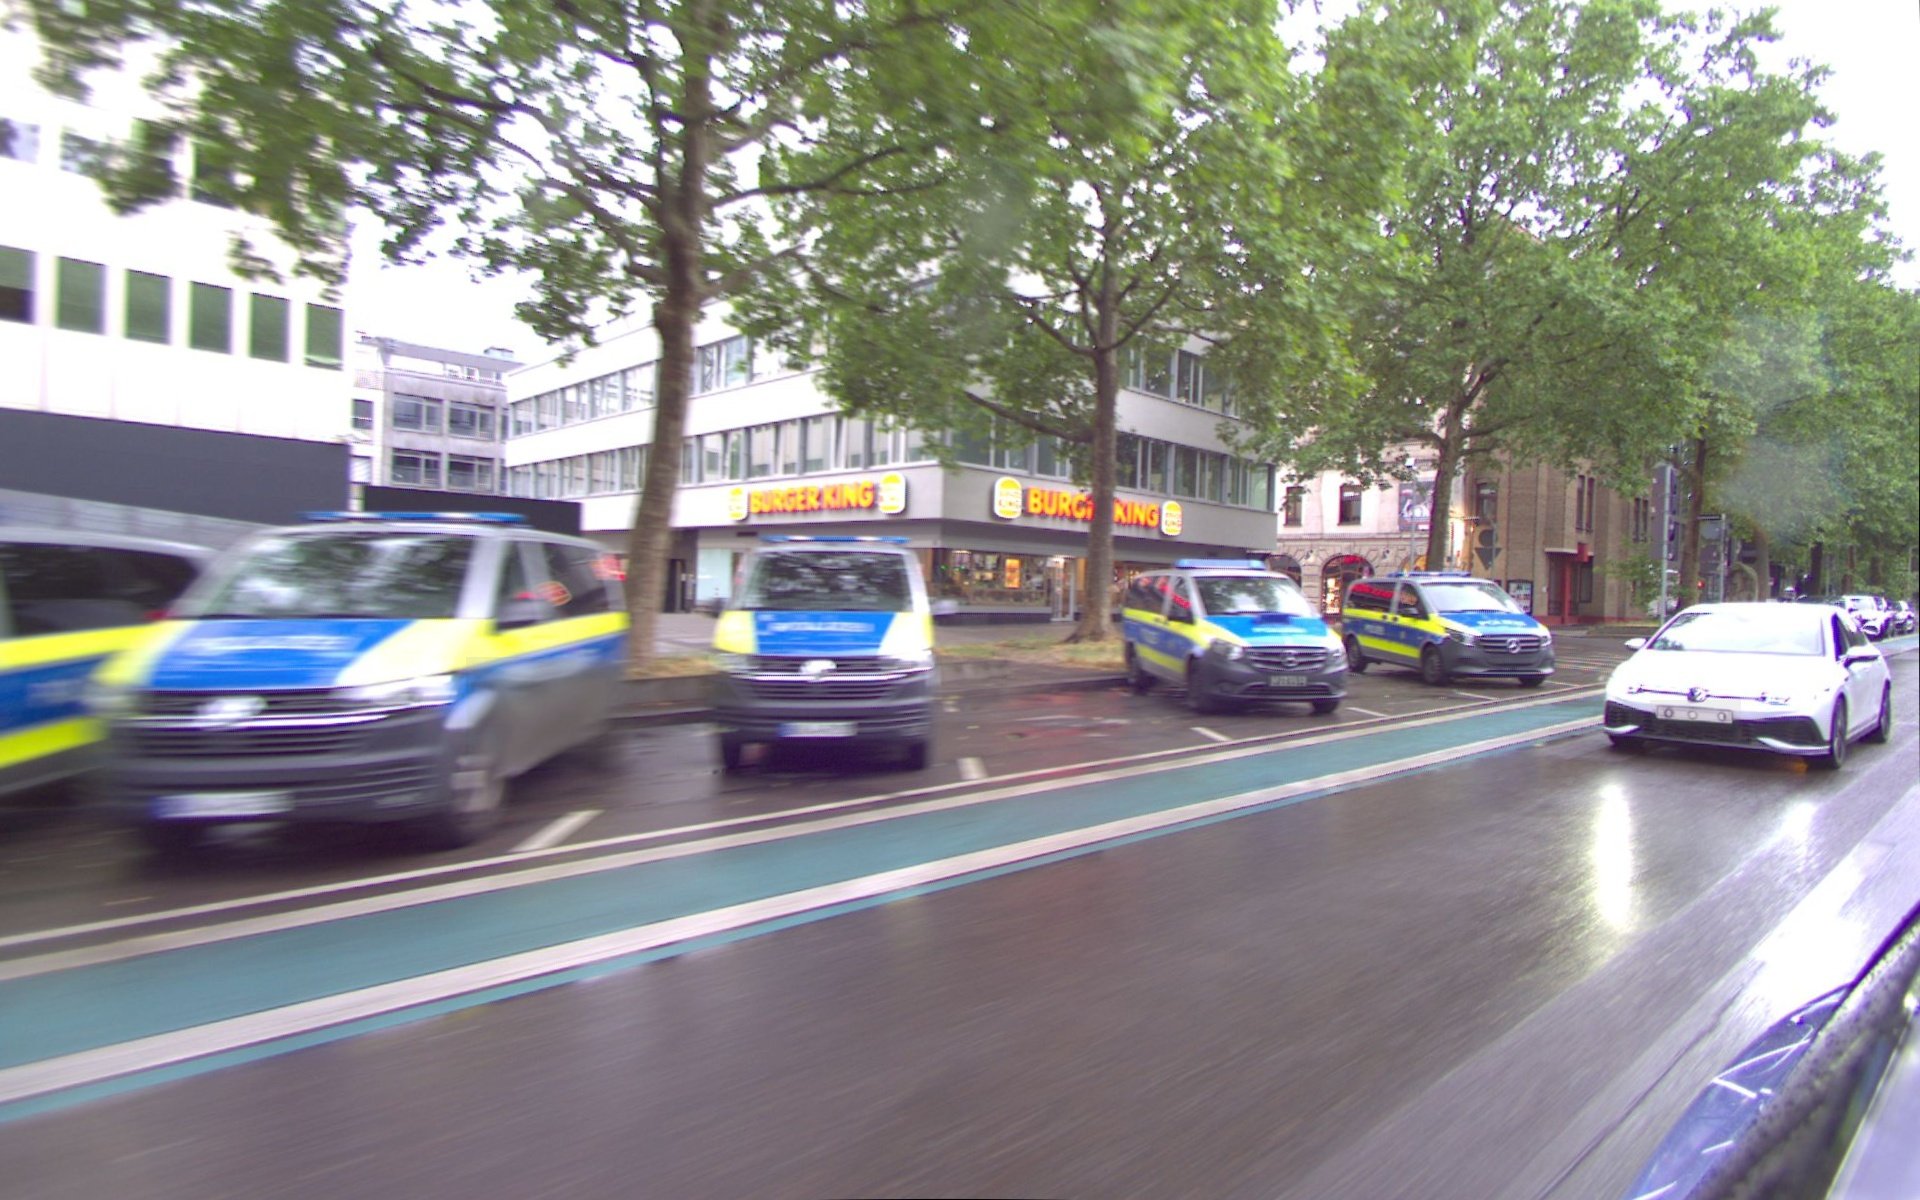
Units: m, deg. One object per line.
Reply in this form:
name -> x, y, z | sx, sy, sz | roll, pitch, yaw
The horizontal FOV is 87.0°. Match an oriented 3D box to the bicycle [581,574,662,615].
bicycle -> -10.312, -0.171, 30.877 | 2.247, 1.187, 0.687 | 0, 1, -41

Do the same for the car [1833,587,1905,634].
car -> 32.973, 0.344, 36.675 | 1.752, 1.605, 4.339 | 0, 0, 45

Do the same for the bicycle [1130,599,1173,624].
bicycle -> 6.890, 0.405, 36.357 | 0.640, 0.829, 1.885 | 1, 1, 40

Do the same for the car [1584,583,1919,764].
car -> 8.253, 0.573, 10.326 | 4.428, 1.463, 1.866 | 0, 1, -39

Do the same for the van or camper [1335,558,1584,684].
van or camper -> 8.945, 0.309, 18.733 | 1.963, 2.017, 4.950 | 0, 1, -3

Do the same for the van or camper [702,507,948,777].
van or camper -> -1.187, 0.274, 10.061 | 1.831, 2.023, 4.859 | 0, 1, -4

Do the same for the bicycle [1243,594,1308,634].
bicycle -> 10.150, 0.454, 32.505 | 1.877, 0.921, 0.652 | 6, 39, -36

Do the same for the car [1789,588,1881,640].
car -> 29.040, 0.418, 33.551 | 4.348, 1.623, 1.795 | 0, 0, -42

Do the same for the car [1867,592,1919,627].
car -> 40.692, 0.379, 43.689 | 4.505, 1.451, 1.746 | -1, 1, -41

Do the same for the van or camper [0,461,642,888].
van or camper -> -3.847, 0.308, 7.278 | 1.960, 2.036, 4.800 | 0, 1, -5

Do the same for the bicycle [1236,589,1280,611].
bicycle -> 13.516, -0.012, 45.960 | 0.613, 0.949, 1.972 | 0, 1, -36

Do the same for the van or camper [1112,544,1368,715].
van or camper -> 3.748, 0.340, 14.665 | 1.957, 2.044, 5.092 | 0, 0, -4

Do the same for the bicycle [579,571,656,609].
bicycle -> -10.965, -0.324, 32.457 | 2.249, 1.187, 0.687 | 0, 0, -44

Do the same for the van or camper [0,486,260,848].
van or camper -> -6.350, 0.368, 5.669 | 1.959, 2.020, 5.033 | 0, 1, -8

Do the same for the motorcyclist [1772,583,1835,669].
motorcyclist -> 16.903, 0.499, 20.306 | 0.842, 1.665, 0.862 | 1, 0, 31

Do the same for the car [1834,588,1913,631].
car -> 36.425, 0.347, 40.312 | 4.484, 1.609, 1.996 | 0, 1, -43

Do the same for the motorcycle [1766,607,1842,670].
motorcycle -> 16.918, 0.744, 20.332 | 0.862, 1.157, 1.999 | 1, 1, 31
